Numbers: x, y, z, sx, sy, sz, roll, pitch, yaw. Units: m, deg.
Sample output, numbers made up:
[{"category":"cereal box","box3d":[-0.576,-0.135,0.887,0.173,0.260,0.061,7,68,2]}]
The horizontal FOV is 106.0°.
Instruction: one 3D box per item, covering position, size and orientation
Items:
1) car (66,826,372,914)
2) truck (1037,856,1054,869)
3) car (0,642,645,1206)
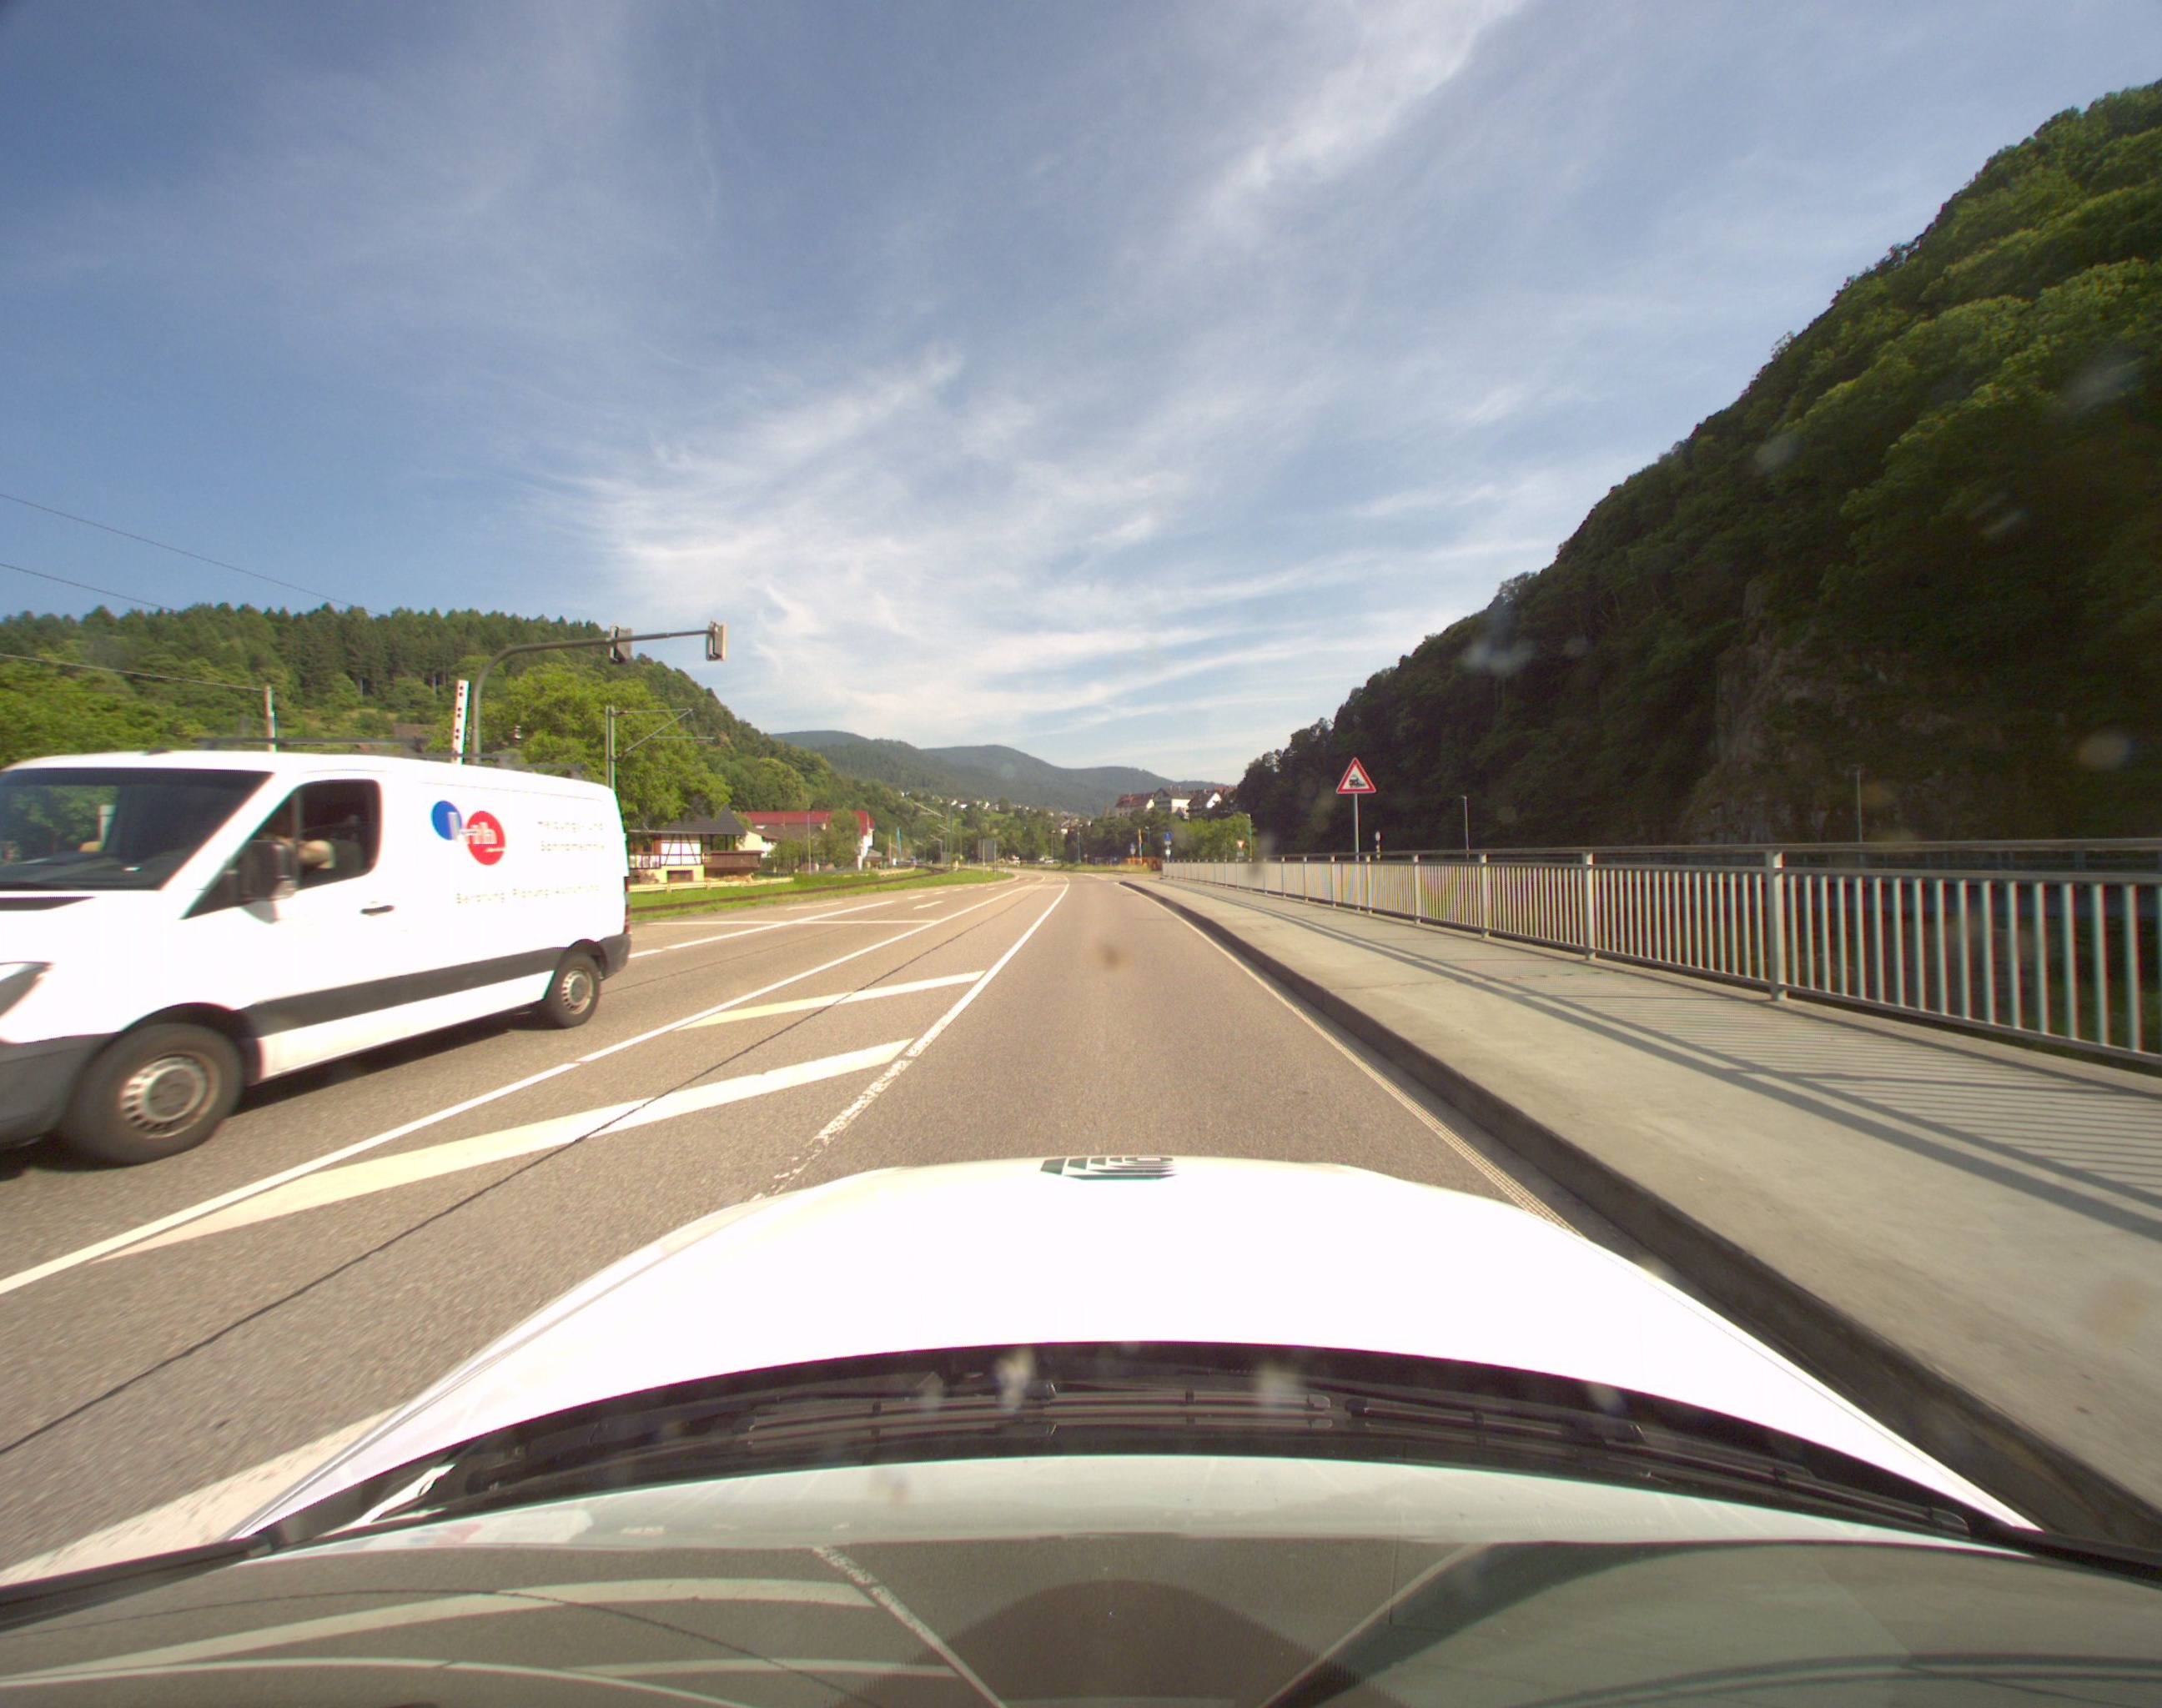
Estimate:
[{"category":"car","box3d":[-26.091,0.498,24.814,7.021,2.457,2.956,-1,0,10]},{"category":"truck","box3d":[-11.250,2.641,255.470,3.111,3.782,8.593,0,-1,-17]},{"category":"car","box3d":[-5.673,0.308,5.900,2.112,2.436,5.229,0,0,1]}]
